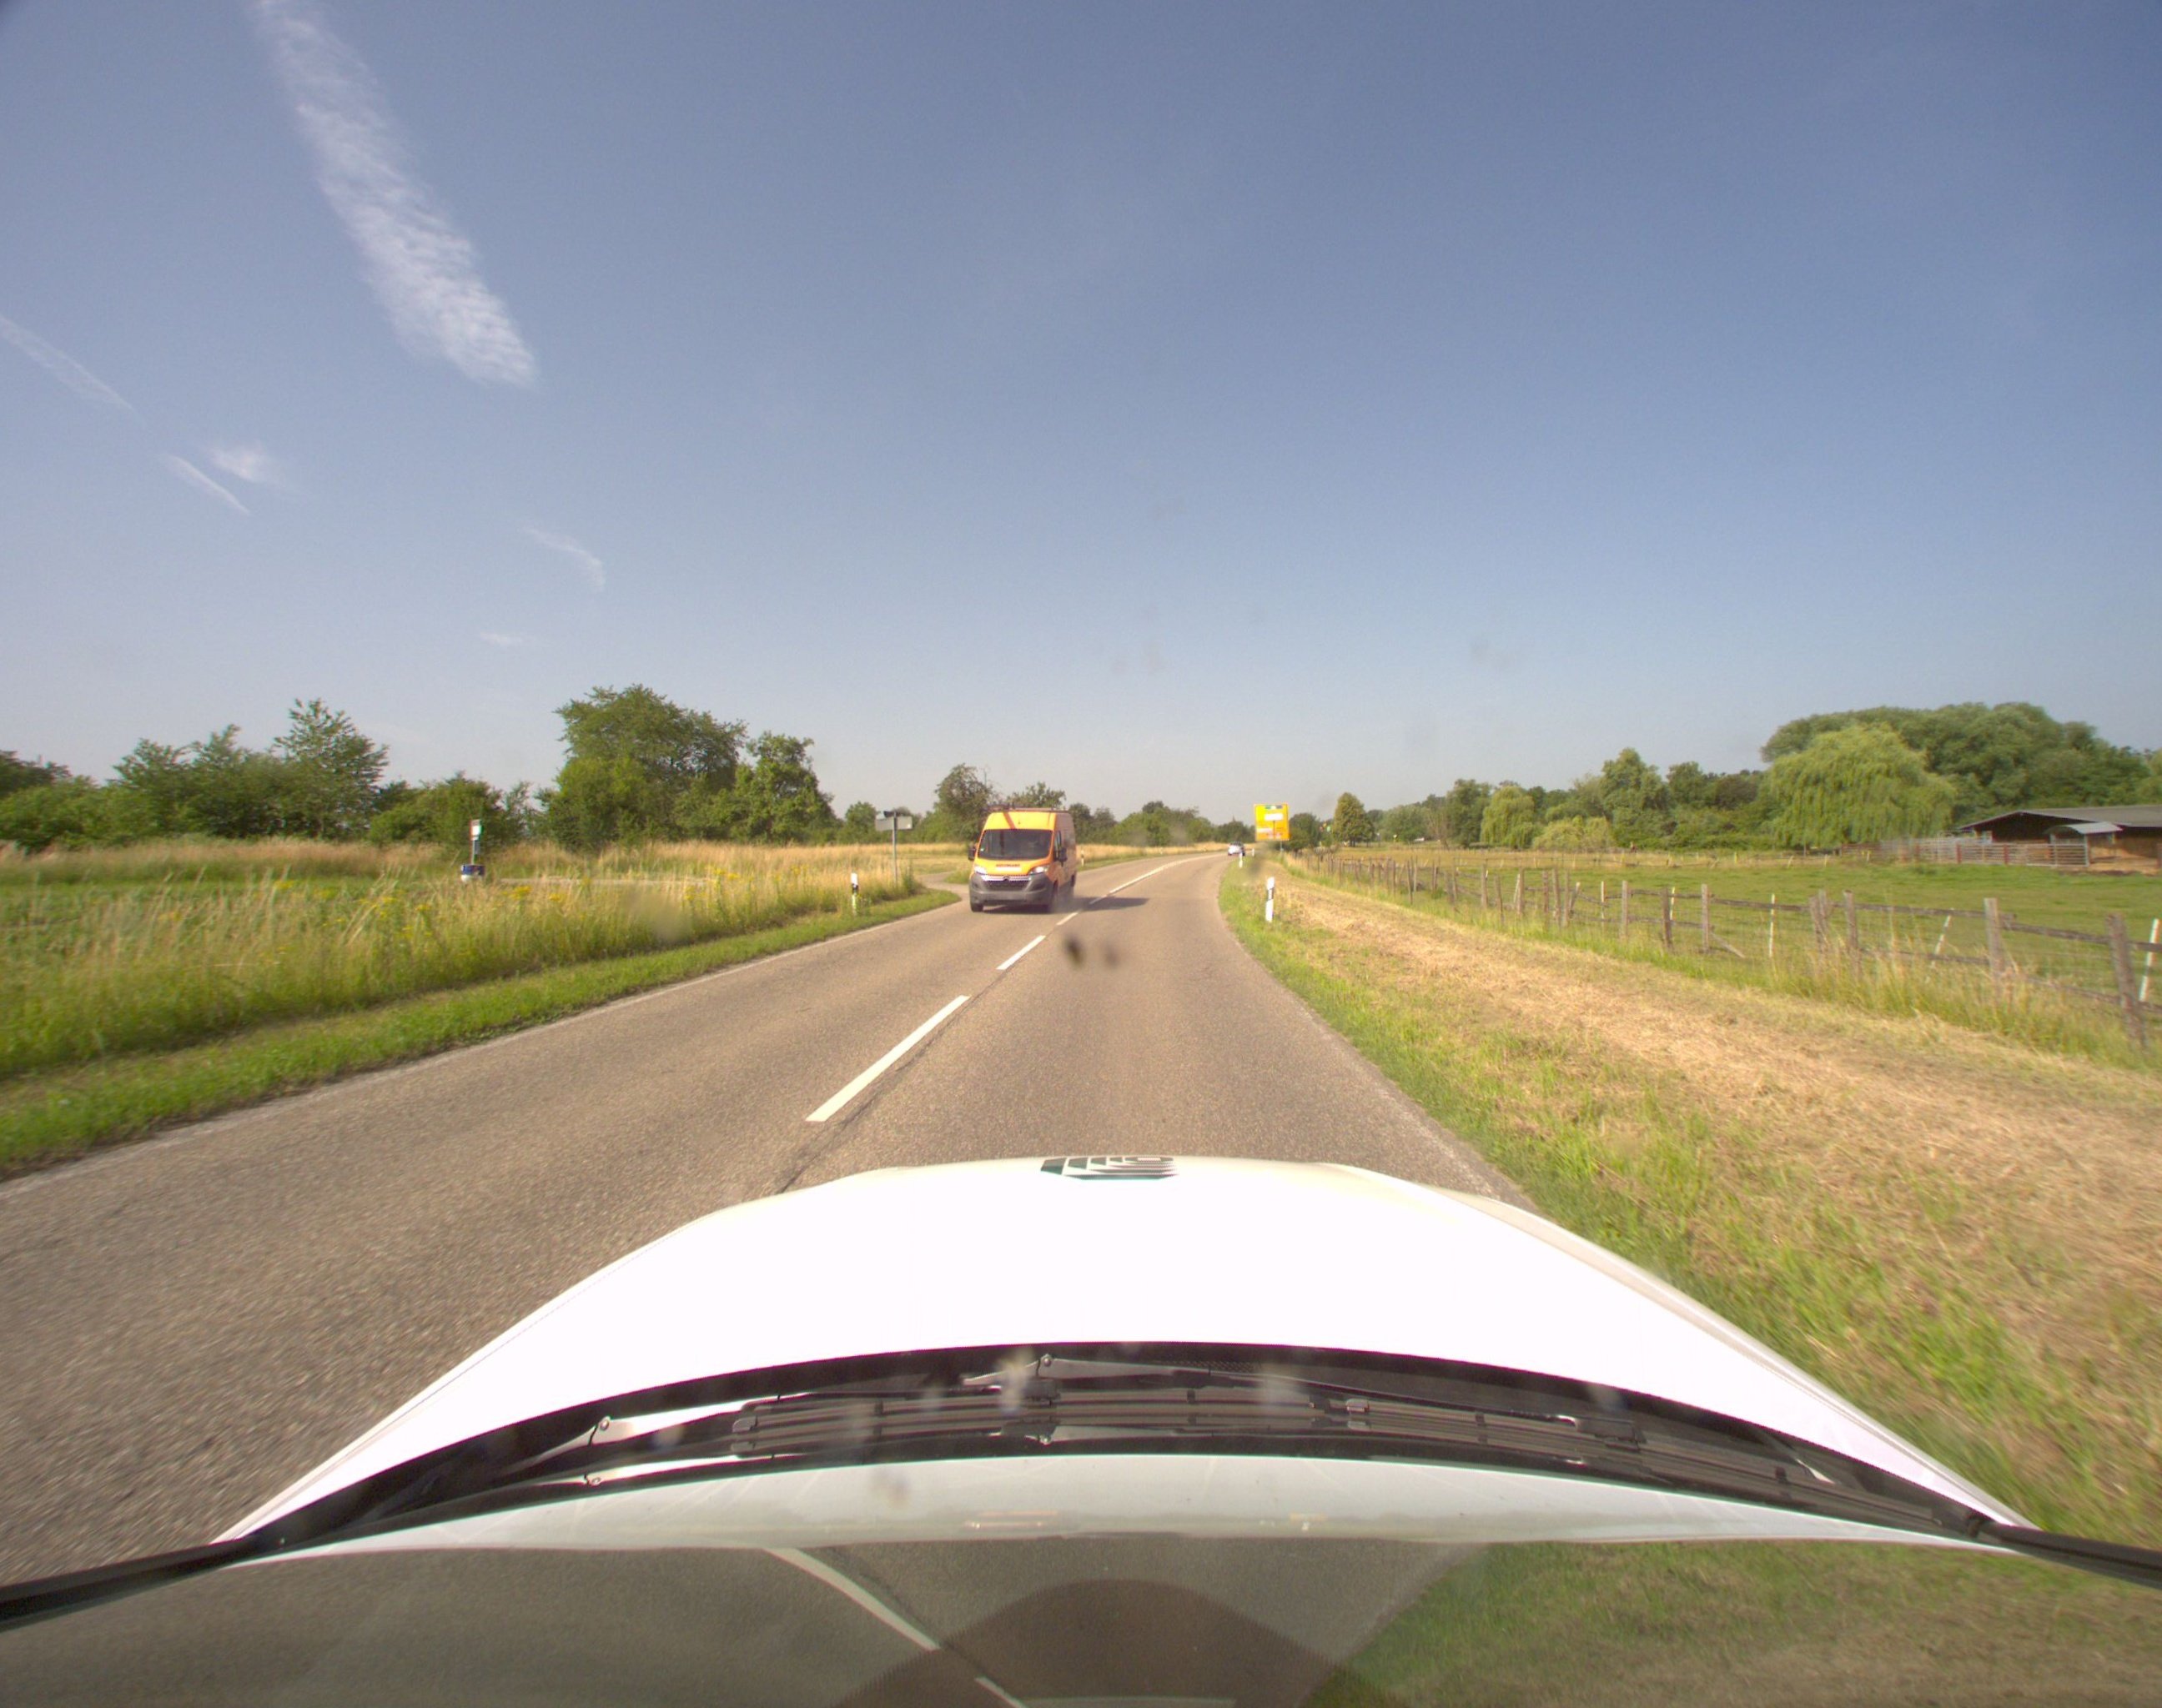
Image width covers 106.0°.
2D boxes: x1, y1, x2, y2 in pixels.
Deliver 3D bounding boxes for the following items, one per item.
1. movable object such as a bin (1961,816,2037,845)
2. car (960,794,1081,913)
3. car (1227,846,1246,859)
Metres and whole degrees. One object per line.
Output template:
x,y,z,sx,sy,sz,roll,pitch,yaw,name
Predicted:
73.086,-1.858,64.937,1.980,2.193,4.179,-1,1,13,movable object such as a bin
-1.394,-0.028,21.242,2.112,2.696,5.279,0,0,7,car
18.528,-0.183,96.773,1.885,1.512,4.017,0,0,16,car
